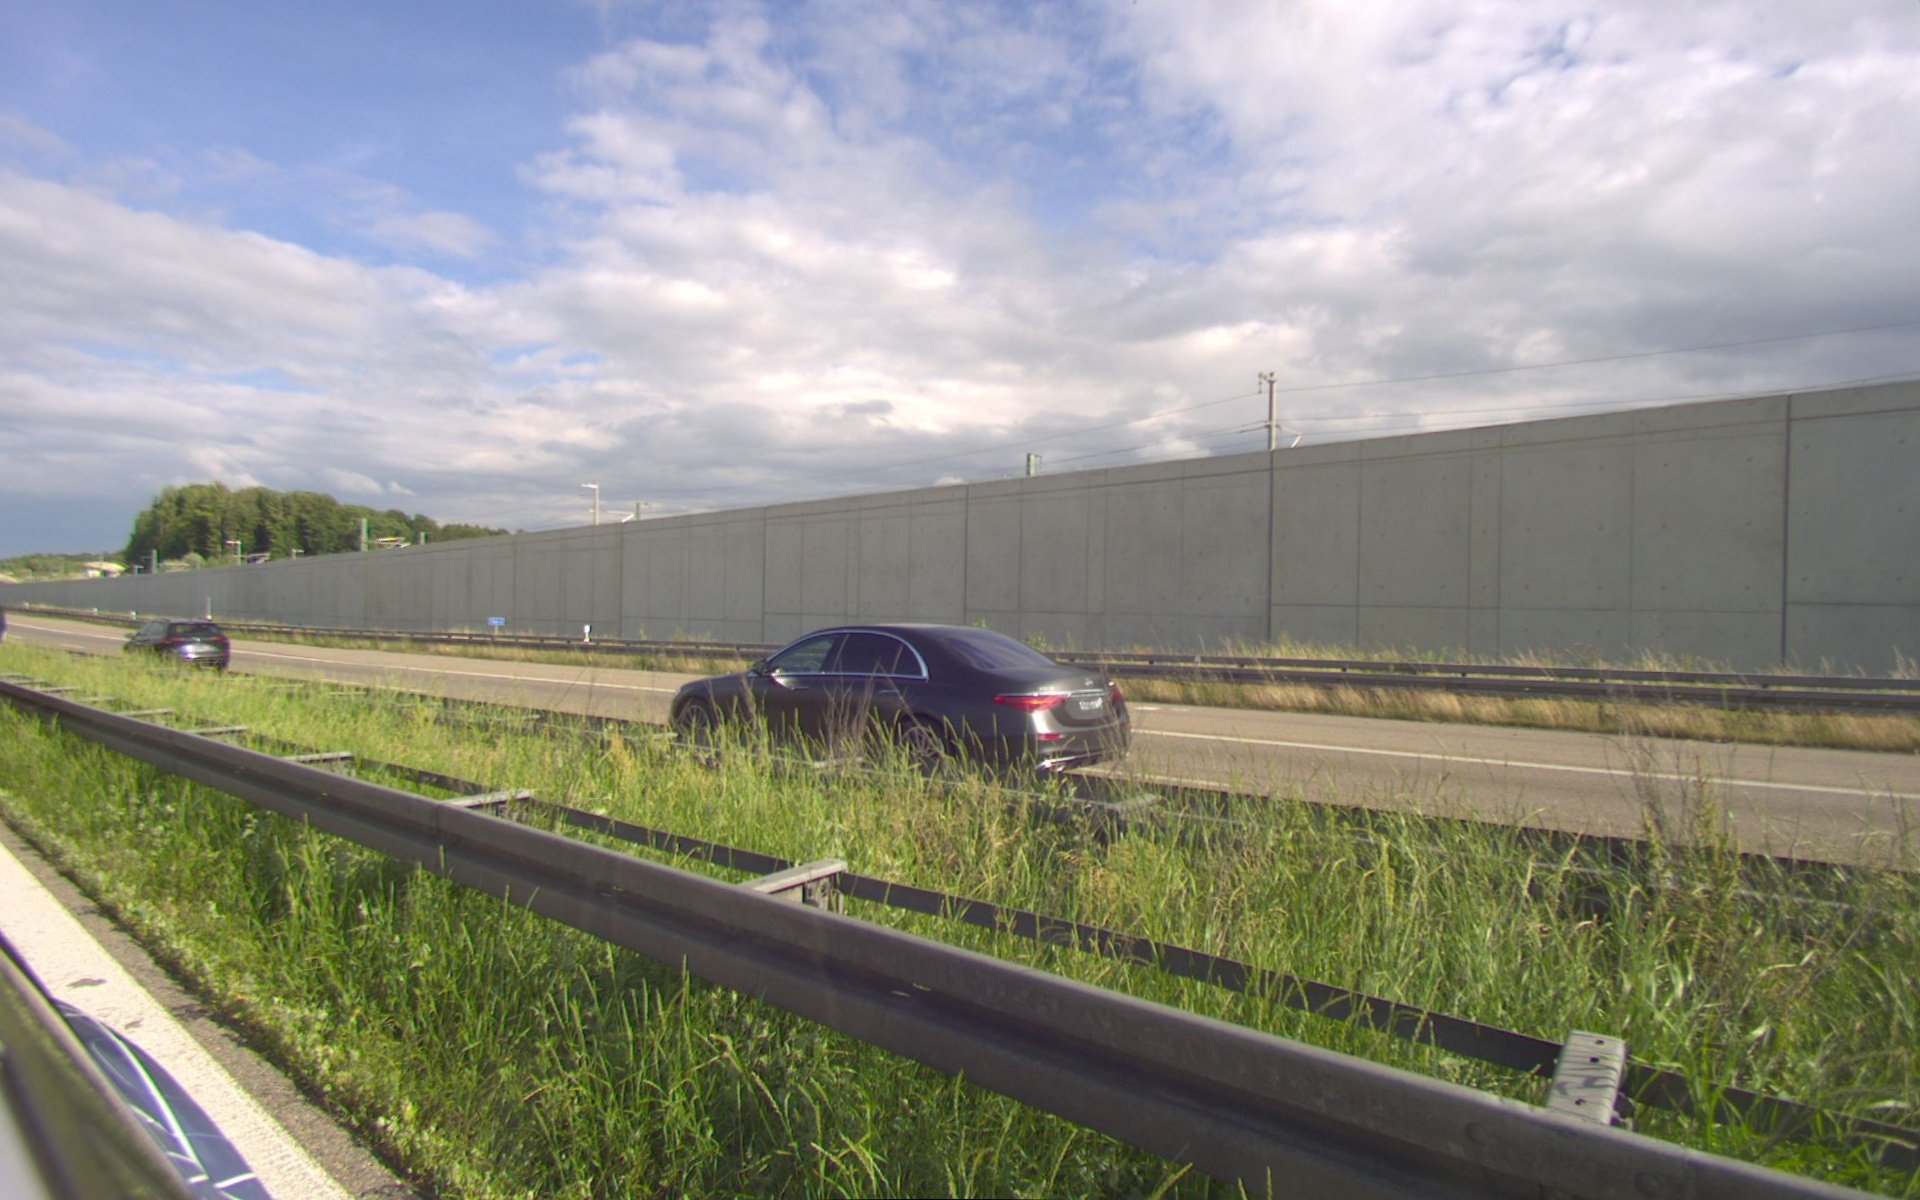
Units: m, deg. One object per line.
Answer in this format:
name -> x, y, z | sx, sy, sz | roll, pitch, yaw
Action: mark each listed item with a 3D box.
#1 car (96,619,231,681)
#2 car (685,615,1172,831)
car -> -21.828, 1.306, 27.679 | 4.393, 1.497, 1.974 | -1, 0, 39
car -> -0.512, 0.928, 9.608 | 4.688, 1.528, 1.784 | -1, 0, 42
